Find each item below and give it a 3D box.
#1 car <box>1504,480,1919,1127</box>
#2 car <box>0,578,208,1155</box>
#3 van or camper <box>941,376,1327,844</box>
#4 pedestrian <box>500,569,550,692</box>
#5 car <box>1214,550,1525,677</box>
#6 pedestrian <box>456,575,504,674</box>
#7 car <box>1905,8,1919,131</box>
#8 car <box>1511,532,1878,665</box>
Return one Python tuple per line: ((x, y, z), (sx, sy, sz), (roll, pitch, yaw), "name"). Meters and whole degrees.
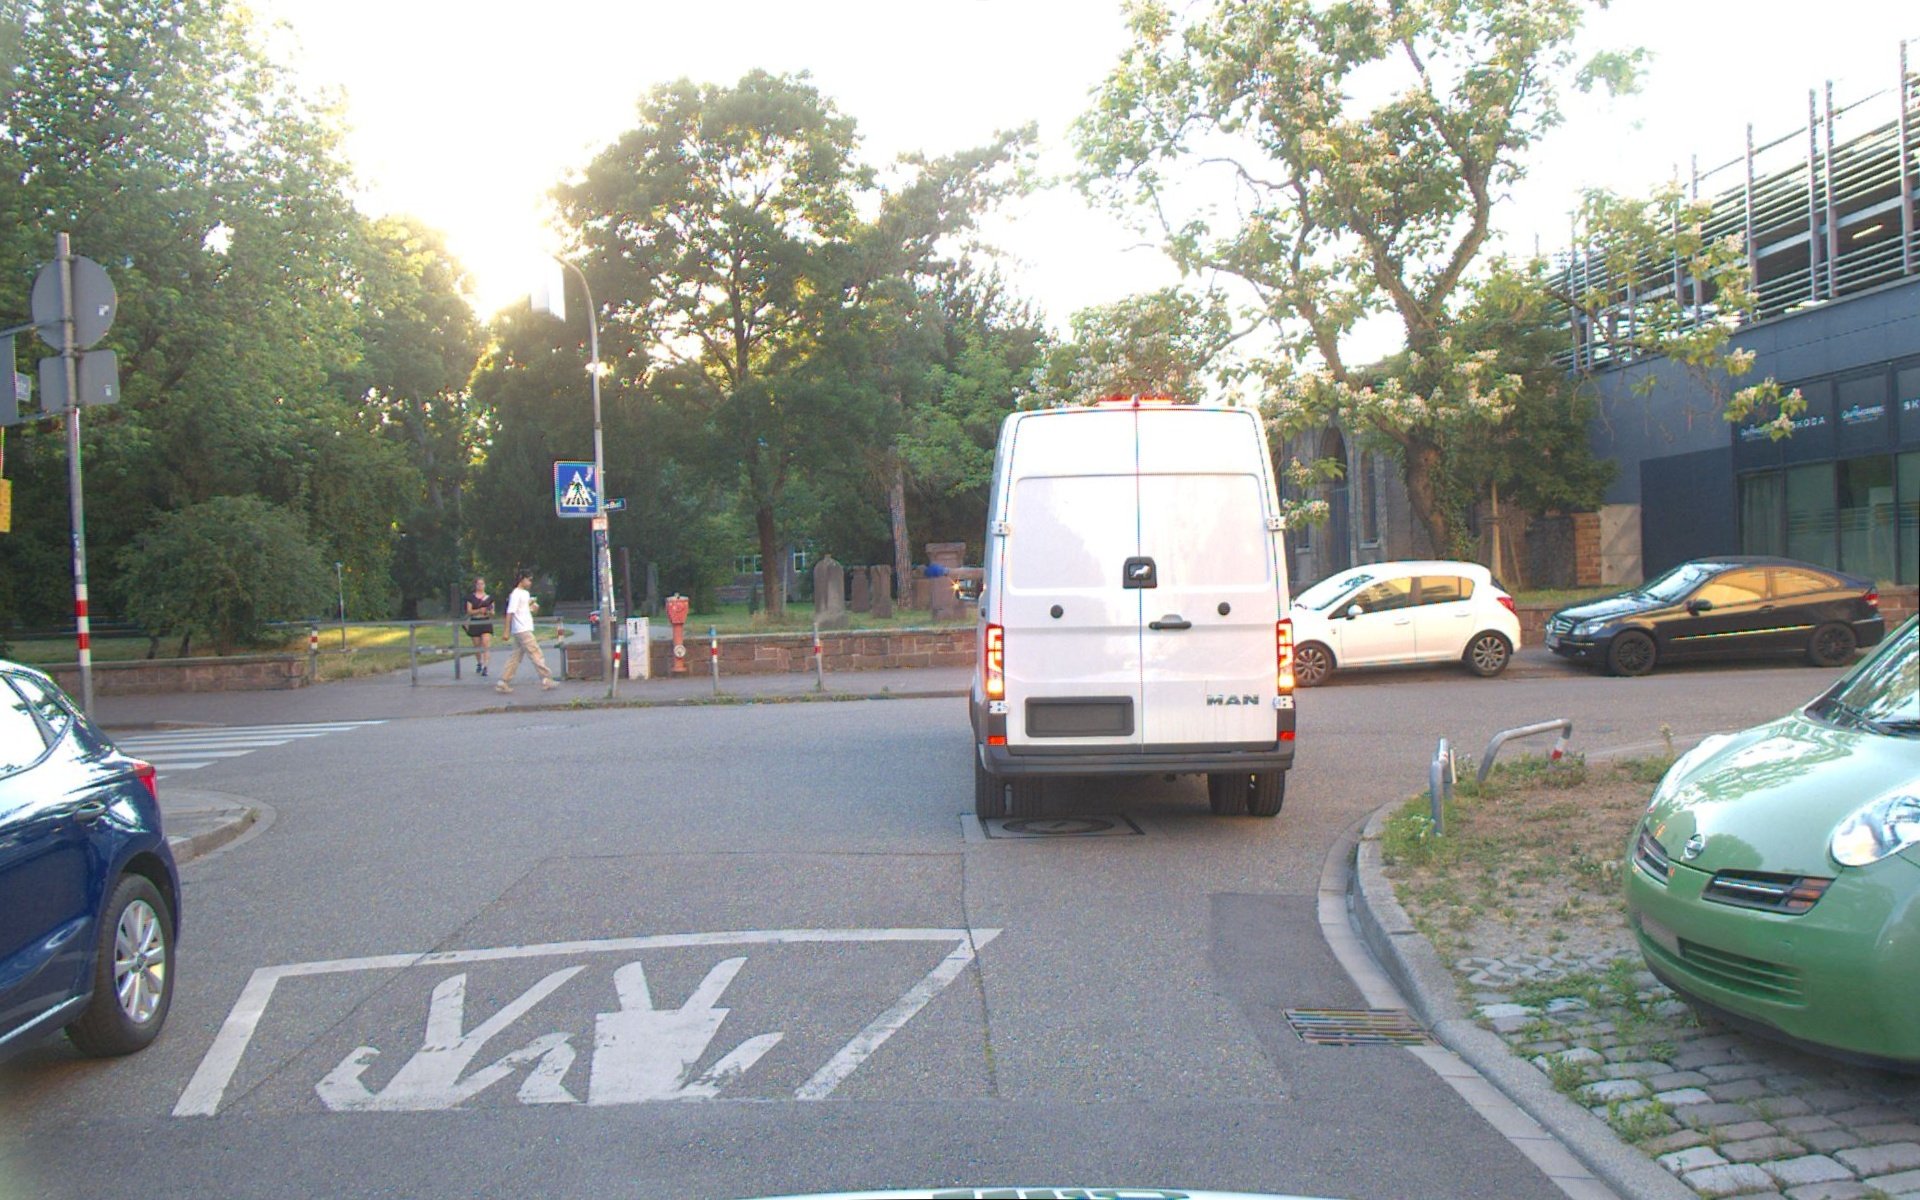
((4.282, 0.431, 5.396), (4.318, 1.660, 1.844), (-3, -1, -5), "car")
((-3.508, 0.789, 4.200), (1.700, 1.594, 3.786), (-3, 1, -6), "car")
((0.968, 0.051, 12.695), (1.954, 2.664, 6.399), (-1, 0, -3), "van or camper")
((-6.608, 0.456, 25.131), (0.581, 1.840, 0.620), (-1, 0, -1), "pedestrian")
((5.639, 0.163, 23.091), (3.779, 1.601, 1.957), (-1, 1, -4), "car")
((-8.267, 0.415, 28.496), (0.633, 1.677, 0.673), (0, 0, -2), "pedestrian")
((18.009, -9.527, 27.921), (1.952, 2.049, 4.002), (-1, 0, 3), "car")
((10.049, -0.034, 22.866), (4.204, 1.529, 1.824), (-3, 0, 2), "car")
